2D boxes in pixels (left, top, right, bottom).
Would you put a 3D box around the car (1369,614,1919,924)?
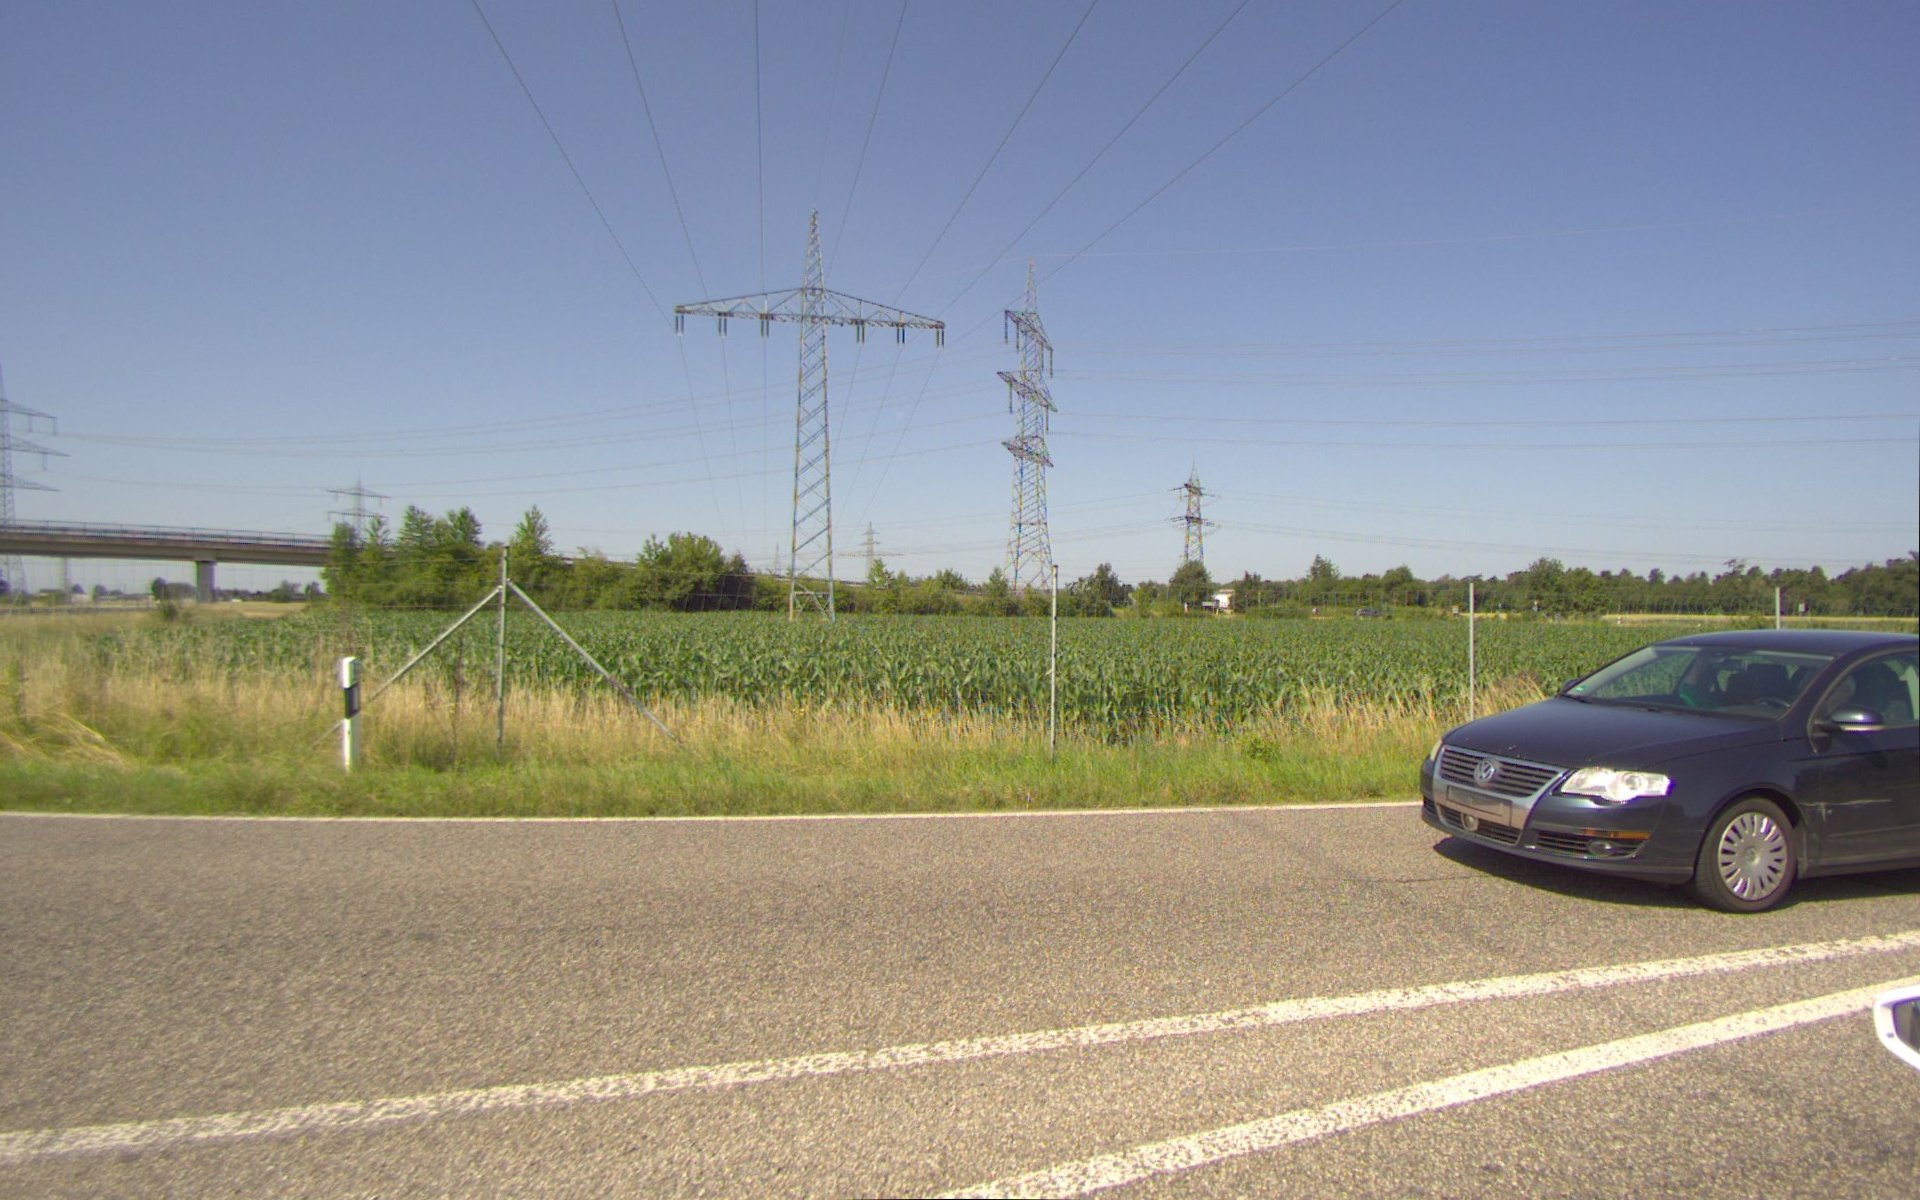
[{"bbox_3d":[5.054,0.859,6.275,4.516,1.476,1.775,1,-1,-16],"label":"car"}]
